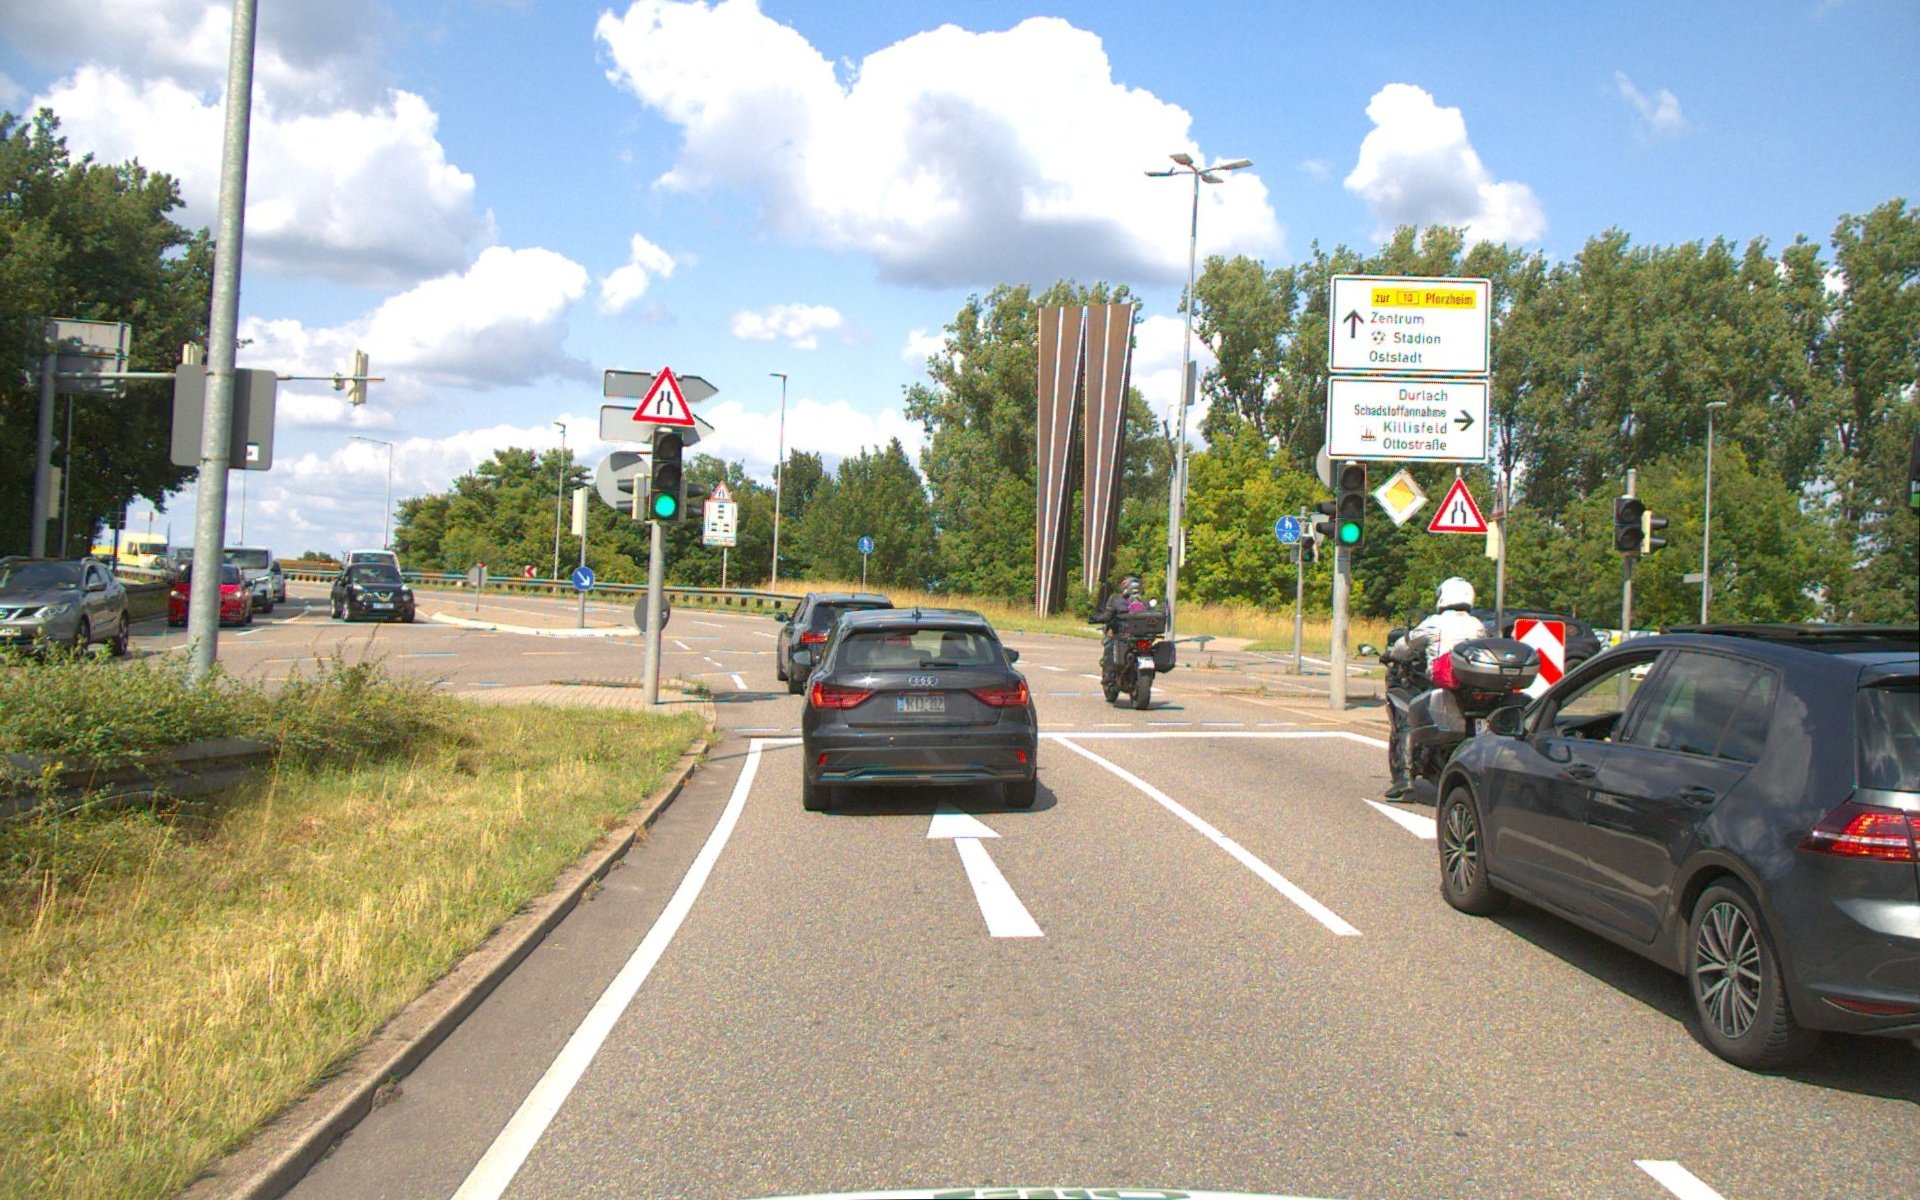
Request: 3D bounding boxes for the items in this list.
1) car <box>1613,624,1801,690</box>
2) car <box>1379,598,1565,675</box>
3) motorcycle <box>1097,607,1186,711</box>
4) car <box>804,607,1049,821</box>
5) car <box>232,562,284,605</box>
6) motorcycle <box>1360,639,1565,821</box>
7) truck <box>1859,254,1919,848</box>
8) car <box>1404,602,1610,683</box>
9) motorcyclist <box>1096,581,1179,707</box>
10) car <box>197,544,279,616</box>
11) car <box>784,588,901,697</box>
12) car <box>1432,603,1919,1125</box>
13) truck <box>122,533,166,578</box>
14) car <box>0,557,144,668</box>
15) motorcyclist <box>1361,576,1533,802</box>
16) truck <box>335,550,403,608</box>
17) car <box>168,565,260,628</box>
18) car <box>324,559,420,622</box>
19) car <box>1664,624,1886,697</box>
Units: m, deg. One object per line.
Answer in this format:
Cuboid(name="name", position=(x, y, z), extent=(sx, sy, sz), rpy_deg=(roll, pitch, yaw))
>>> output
Cuboid(name="car", position=(19.411, 1.474, 43.074), extent=(4.119, 1.399, 1.645), rpy_deg=(3, 1, -3))
Cuboid(name="car", position=(13.132, 0.925, 42.574), extent=(4.119, 1.674, 1.837), rpy_deg=(3, 1, -3))
Cuboid(name="motorcycle", position=(2.399, 0.754, 22.171), extent=(0.869, 1.269, 2.399), rpy_deg=(2, 0, -1))
Cuboid(name="car", position=(-0.247, 0.779, 13.054), extent=(1.647, 1.412, 3.738), rpy_deg=(0, 0, -1))
Cuboid(name="car", position=(-26.108, -0.624, 61.493), extent=(1.710, 1.547, 4.038), rpy_deg=(0, 1, -24))
Cuboid(name="motorcycle", position=(3.730, 0.918, 12.519), extent=(0.773, 1.151, 2.399), rpy_deg=(2, 0, -1))
Cuboid(name="truck", position=(7.697, -0.269, 8.570), extent=(2.809, 3.971, 5.879), rpy_deg=(4, 0, 2))
Cuboid(name="car", position=(12.870, 0.990, 39.061), extent=(4.196, 1.645, 1.844), rpy_deg=(3, -1, -3))
Cuboid(name="motorcyclist", position=(2.383, 0.578, 22.306), extent=(0.946, 1.624, 1.124), rpy_deg=(2, 0, -1))
Cuboid(name="car", position=(-21.922, -0.597, 50.112), extent=(1.970, 2.049, 5.090), rpy_deg=(0, 0, -27))
Cuboid(name="car", position=(-1.728, 0.591, 25.191), extent=(1.609, 1.504, 3.870), rpy_deg=(1, 0, -2))
Cuboid(name="car", position=(3.375, 0.792, 6.804), extent=(1.609, 1.504, 3.870), rpy_deg=(1, 0, -2))
Cuboid(name="truck", position=(-49.717, -2.737, 100.816), extent=(1.966, 2.666, 6.063), rpy_deg=(0, 2, -22))
Cuboid(name="car", position=(-14.440, 0.167, 26.233), extent=(1.680, 1.613, 4.269), rpy_deg=(0, 0, -12))
Cuboid(name="motorcyclist", position=(3.742, 0.658, 12.799), extent=(0.946, 1.648, 1.124), rpy_deg=(2, 0, -1))
Cuboid(name="truck", position=(-21.389, -0.789, 59.745), extent=(1.934, 1.946, 5.331), rpy_deg=(1, 1, -24))
Cuboid(name="car", position=(-18.226, -0.094, 40.527), extent=(1.556, 1.457, 3.981), rpy_deg=(0, 1, -17))
Cuboid(name="car", position=(-16.056, -0.281, 45.086), extent=(1.681, 1.584, 3.781), rpy_deg=(1, 1, -32))
Cuboid(name="car", position=(19.250, 1.427, 39.152), extent=(4.438, 1.399, 1.645), rpy_deg=(3, 1, -3))
